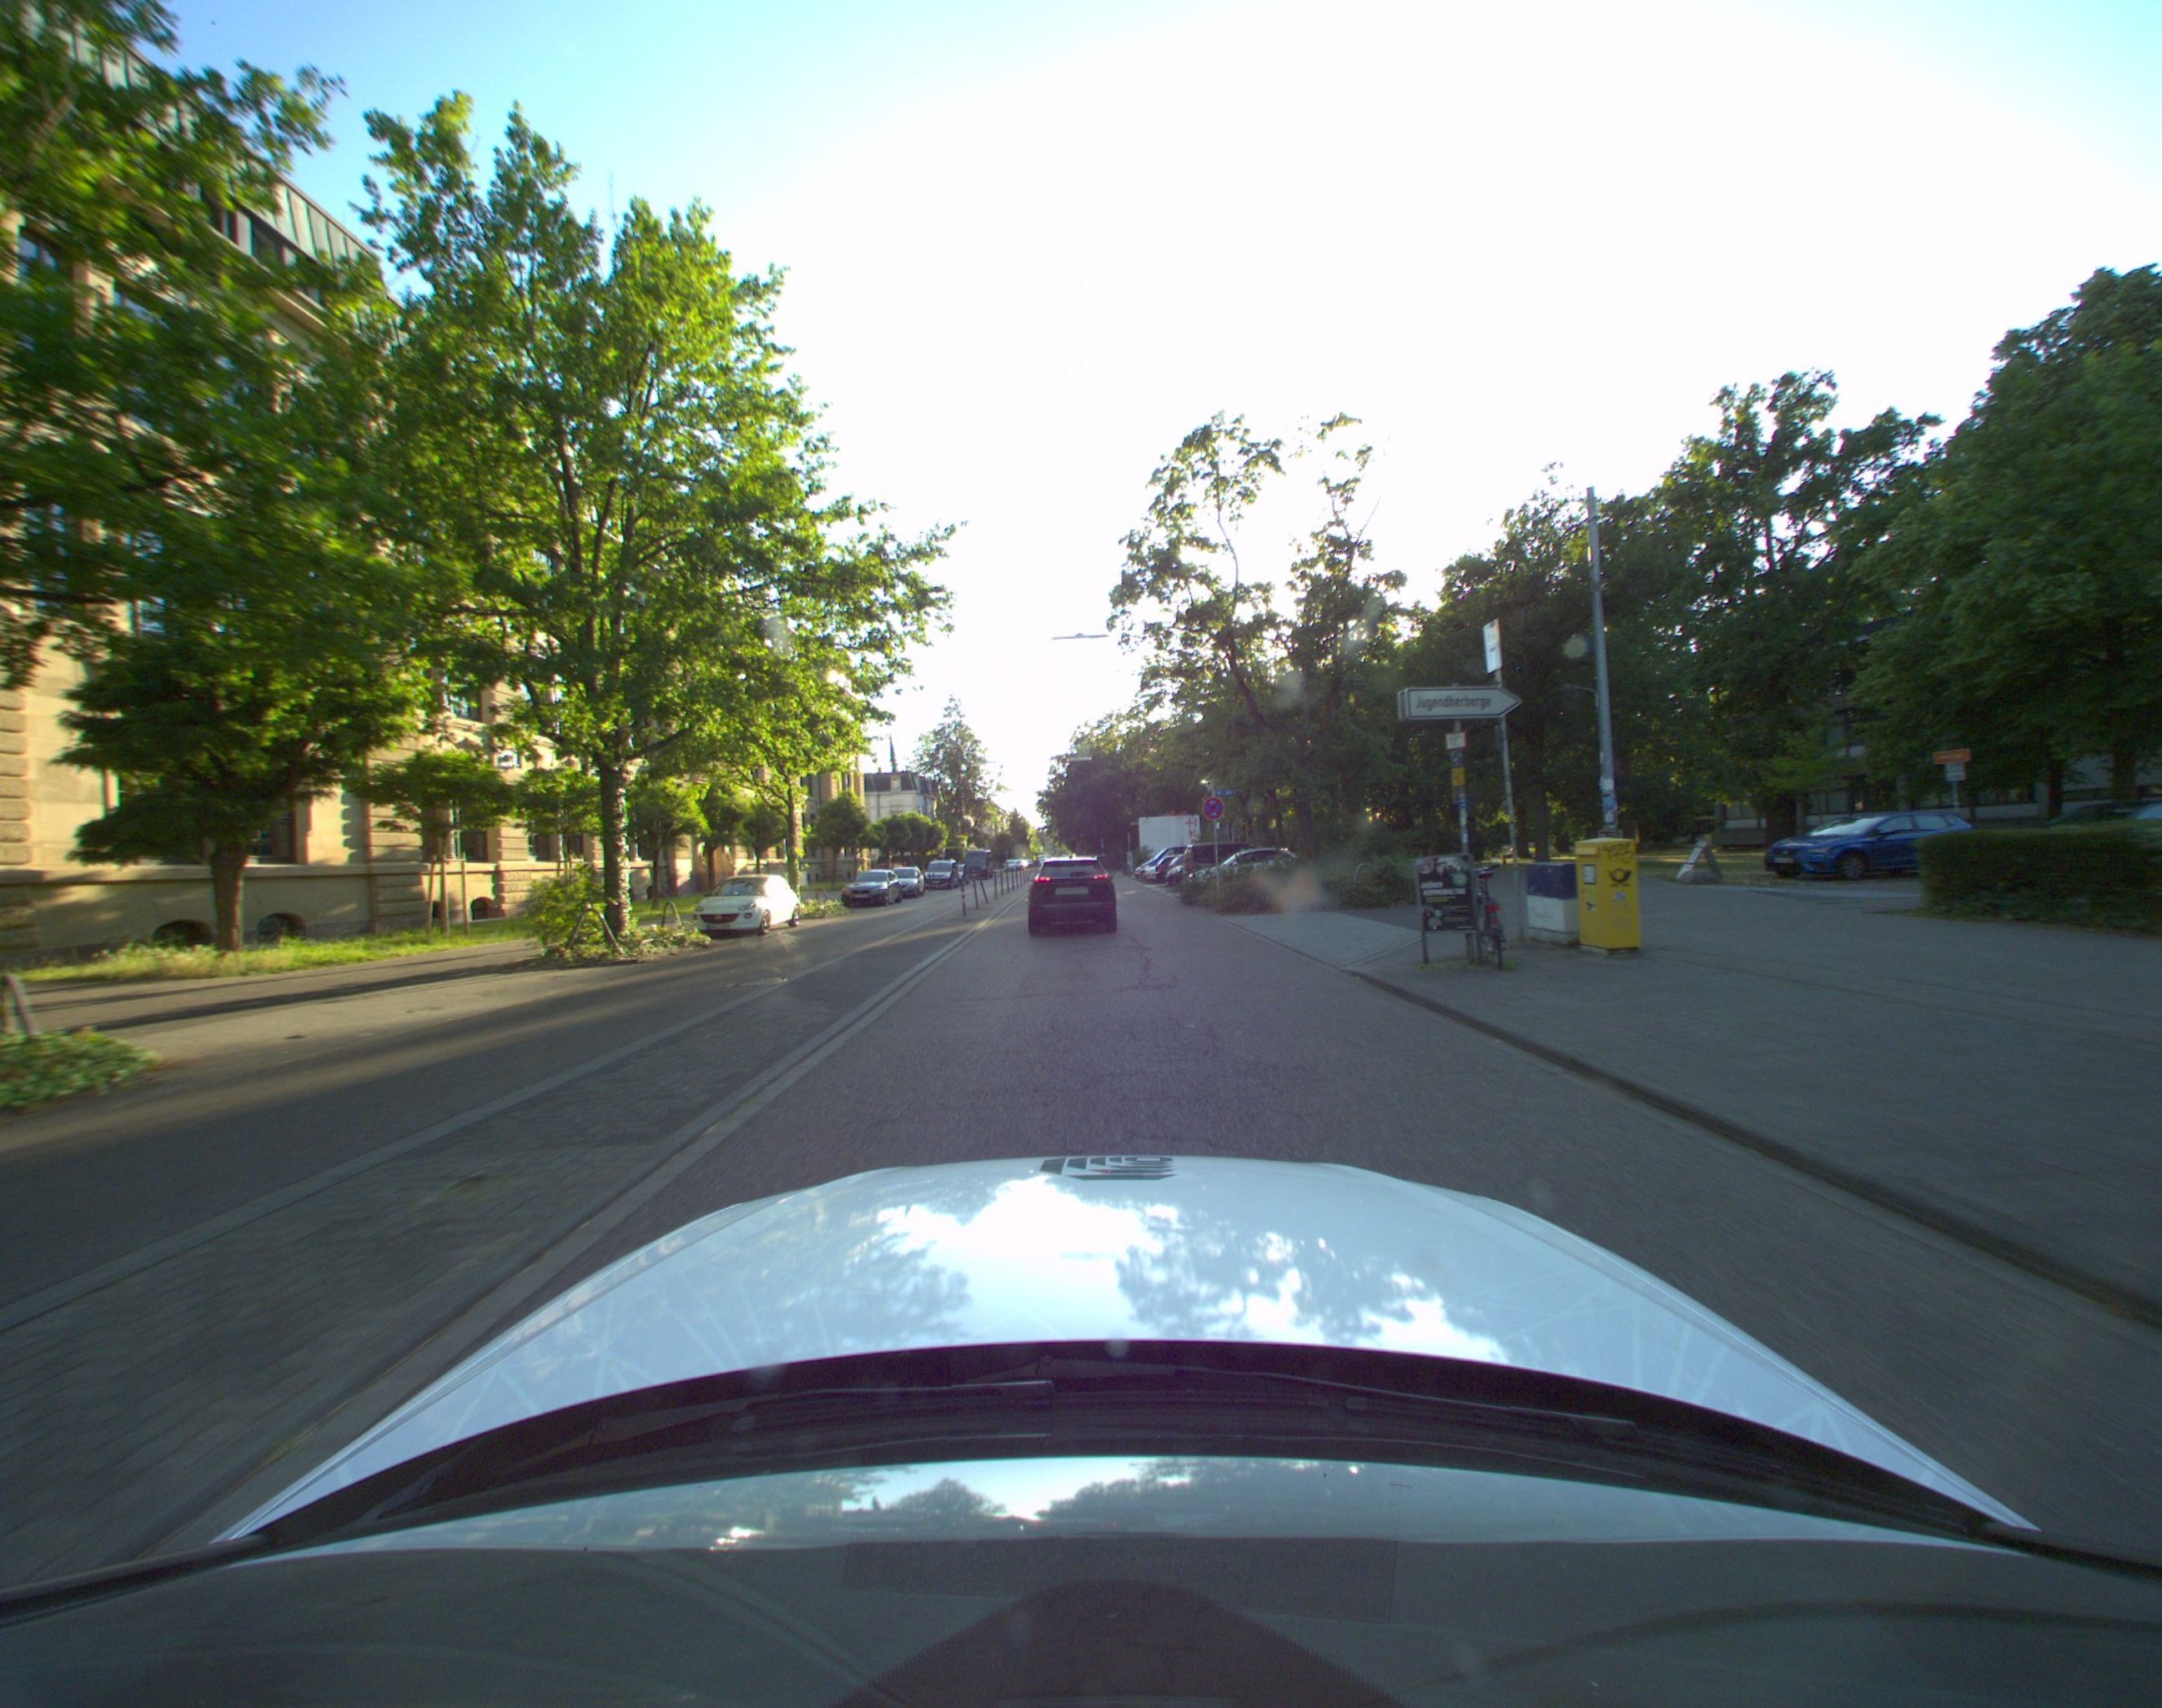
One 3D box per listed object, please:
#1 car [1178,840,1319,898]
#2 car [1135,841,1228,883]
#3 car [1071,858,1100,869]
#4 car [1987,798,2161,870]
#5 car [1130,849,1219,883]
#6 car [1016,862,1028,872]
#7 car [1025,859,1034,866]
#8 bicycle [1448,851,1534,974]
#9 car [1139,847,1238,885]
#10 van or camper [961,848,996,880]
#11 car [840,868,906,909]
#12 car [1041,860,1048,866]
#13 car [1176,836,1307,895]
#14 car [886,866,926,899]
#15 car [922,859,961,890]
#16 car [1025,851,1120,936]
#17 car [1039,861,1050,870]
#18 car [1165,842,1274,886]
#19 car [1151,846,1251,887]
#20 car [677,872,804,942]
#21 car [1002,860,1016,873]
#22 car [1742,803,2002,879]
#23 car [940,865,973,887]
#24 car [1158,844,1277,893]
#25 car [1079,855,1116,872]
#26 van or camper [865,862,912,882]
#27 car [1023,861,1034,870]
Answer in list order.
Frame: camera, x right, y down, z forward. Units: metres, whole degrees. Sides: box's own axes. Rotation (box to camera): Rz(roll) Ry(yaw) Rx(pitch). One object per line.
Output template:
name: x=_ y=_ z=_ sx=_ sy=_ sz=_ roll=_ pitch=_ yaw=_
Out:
car: x=5.641 y=0.496 z=27.731 sx=4.351 sy=1.554 sz=1.726 roll=-5 pitch=0 yaw=-2
car: x=5.608 y=0.446 z=45.682 sx=4.840 sy=1.915 sz=1.915 roll=-5 pitch=0 yaw=-2
car: x=0.642 y=1.418 z=122.068 sx=4.234 sy=1.449 sz=2.019 roll=-4 pitch=-1 yaw=-3
car: x=23.679 y=-0.485 z=18.640 sx=3.975 sy=1.477 sz=1.736 roll=-3 pitch=-1 yaw=-1
car: x=5.481 y=0.703 z=48.223 sx=4.914 sy=1.554 sz=1.915 roll=-5 pitch=0 yaw=-2
car: x=-9.261 y=2.085 z=127.857 sx=1.609 sy=1.466 sz=4.034 roll=-3 pitch=-1 yaw=0
car: x=-12.216 y=1.933 z=193.804 sx=1.894 sy=1.574 sz=3.998 roll=-2 pitch=-1 yaw=-1
bicycle: x=4.683 y=0.600 z=9.420 sx=0.488 sy=1.148 sz=2.296 roll=-6 pitch=0 yaw=19
car: x=5.652 y=0.626 z=43.363 sx=4.914 sy=1.554 sz=1.915 roll=-5 pitch=0 yaw=-2
van or camper: x=-8.834 y=0.857 z=70.905 sx=2.223 sy=2.544 sz=7.075 roll=-1 pitch=-1 yaw=-1
car: x=-8.503 y=1.365 z=33.703 sx=1.613 sy=1.496 sz=4.375 roll=-2 pitch=0 yaw=-1
car: x=-10.370 y=2.565 z=232.614 sx=1.988 sy=1.816 sz=3.998 roll=-2 pitch=-1 yaw=-1
car: x=5.847 y=0.413 z=30.062 sx=4.351 sy=1.780 sz=1.919 roll=-5 pitch=0 yaw=-2
car: x=-8.785 y=1.407 z=41.074 sx=1.718 sy=1.496 sz=4.362 roll=-2 pitch=0 yaw=-9
car: x=-8.765 y=1.233 z=51.452 sx=1.772 sy=1.866 sz=4.331 roll=0 pitch=0 yaw=0
car: x=-0.172 y=0.757 z=17.572 sx=1.766 sy=1.568 sz=4.107 roll=-2 pitch=0 yaw=-1
car: x=-6.274 y=2.002 z=139.370 sx=1.736 sy=1.458 sz=4.621 roll=-3 pitch=-1 yaw=-1
car: x=6.069 y=0.442 z=35.964 sx=4.351 sy=1.537 sz=1.919 roll=-5 pitch=0 yaw=-2
car: x=5.609 y=0.563 z=38.438 sx=4.351 sy=1.537 sz=1.919 roll=-5 pitch=0 yaw=-2
car: x=-8.583 y=1.279 z=20.884 sx=1.613 sy=1.496 sz=3.922 roll=-2 pitch=0 yaw=-1
car: x=-9.361 y=1.624 z=106.232 sx=1.610 sy=1.515 sz=3.708 roll=-4 pitch=-1 yaw=-3
car: x=17.762 y=-0.273 z=18.430 sx=4.127 sy=1.442 sz=1.835 roll=-3 pitch=-1 yaw=-1
car: x=-8.741 y=1.496 z=57.477 sx=1.690 sy=1.470 sz=3.855 roll=0 pitch=-1 yaw=1
car: x=5.440 y=0.562 z=32.839 sx=4.351 sy=1.554 sz=1.875 roll=-5 pitch=0 yaw=-2
car: x=1.805 y=1.030 z=88.965 sx=3.976 sy=1.554 sz=1.725 roll=-3 pitch=1 yaw=-2
van or camper: x=-21.939 y=2.039 z=92.900 sx=4.752 sy=1.985 sz=2.001 roll=-3 pitch=4 yaw=1
car: x=-9.537 y=2.129 z=148.947 sx=1.748 sy=1.413 sz=3.761 roll=-5 pitch=0 yaw=-2
